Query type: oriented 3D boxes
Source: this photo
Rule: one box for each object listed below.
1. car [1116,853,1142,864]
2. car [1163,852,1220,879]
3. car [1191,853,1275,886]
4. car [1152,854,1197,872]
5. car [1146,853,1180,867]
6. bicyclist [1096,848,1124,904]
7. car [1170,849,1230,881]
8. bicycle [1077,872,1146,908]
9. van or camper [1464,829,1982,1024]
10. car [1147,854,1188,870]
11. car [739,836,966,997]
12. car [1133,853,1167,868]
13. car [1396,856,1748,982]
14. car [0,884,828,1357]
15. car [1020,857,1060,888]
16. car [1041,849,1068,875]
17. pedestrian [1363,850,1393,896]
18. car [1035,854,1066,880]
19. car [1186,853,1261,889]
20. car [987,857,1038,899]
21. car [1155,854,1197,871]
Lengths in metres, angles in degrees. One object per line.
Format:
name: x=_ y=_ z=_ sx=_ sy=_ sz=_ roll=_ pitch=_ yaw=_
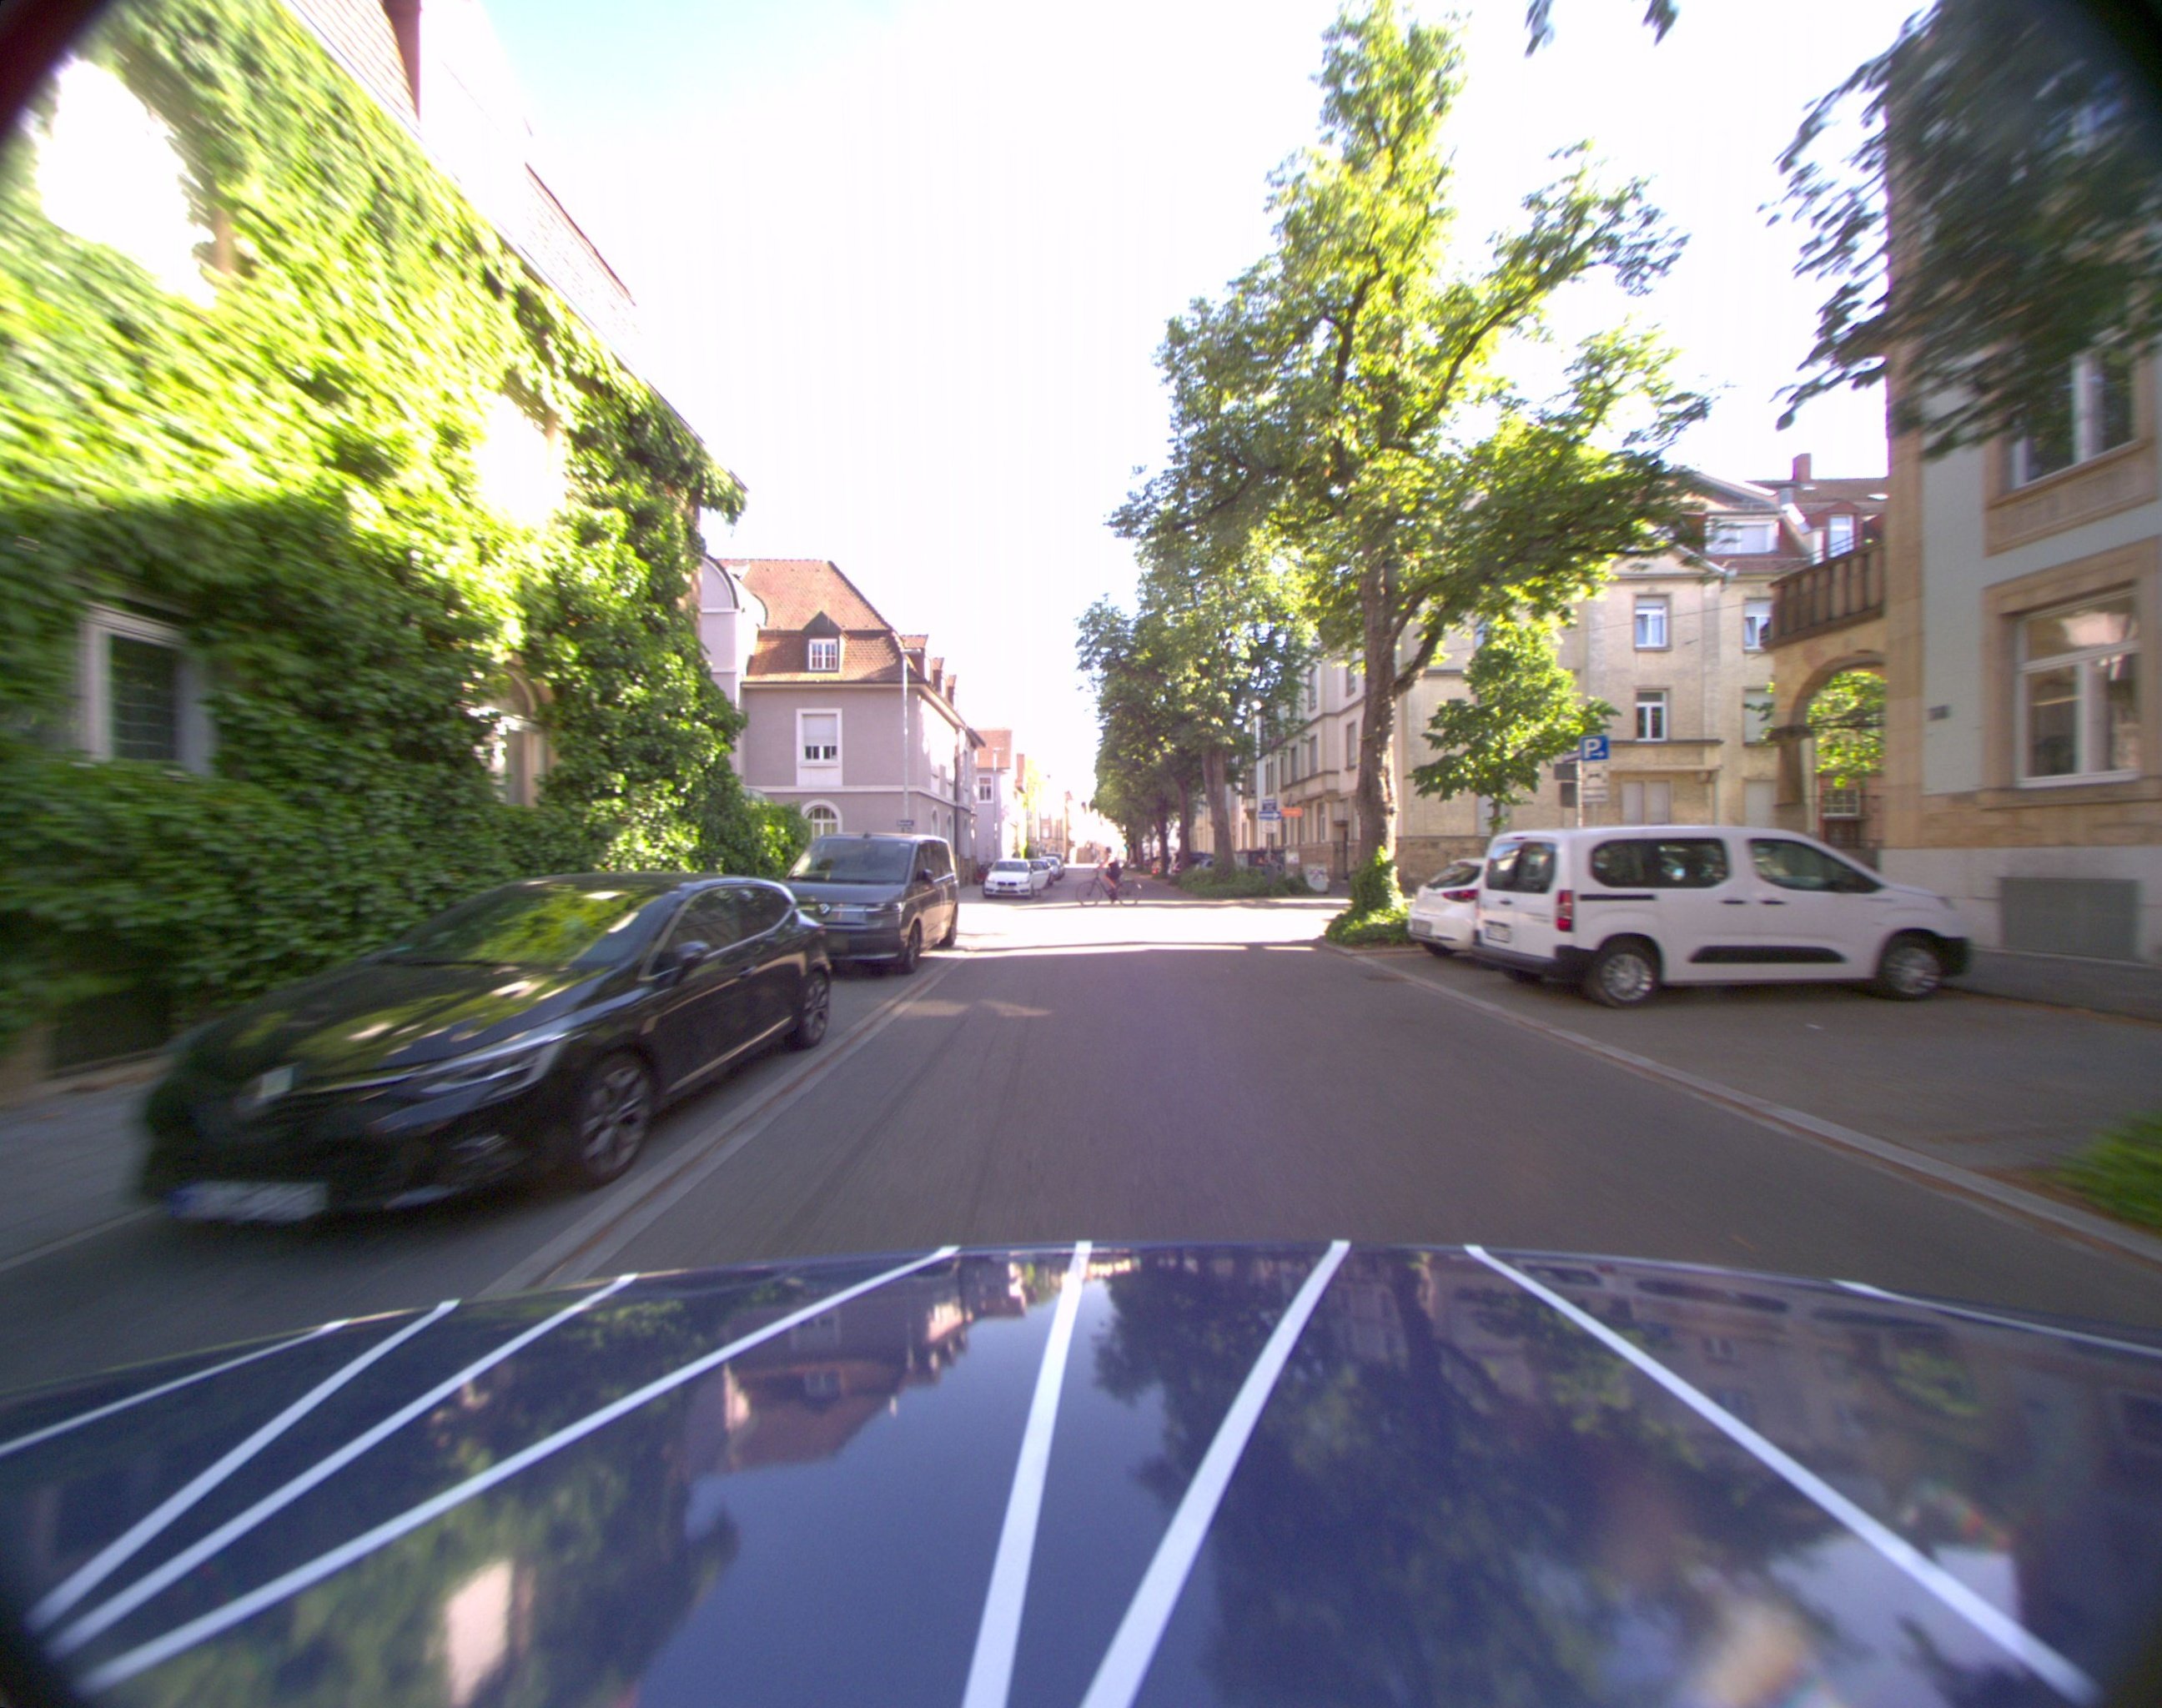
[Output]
car: x=6.496 y=0.556 z=102.978 sx=3.496 sy=1.421 sz=1.542 roll=-1 pitch=0 yaw=0
car: x=7.185 y=0.754 z=49.768 sx=3.496 sy=1.681 sz=1.682 roll=-1 pitch=0 yaw=0
car: x=7.542 y=0.774 z=37.990 sx=3.994 sy=1.424 sz=1.804 roll=-3 pitch=2 yaw=8
car: x=7.699 y=0.759 z=62.748 sx=3.496 sy=1.421 sz=1.542 roll=-1 pitch=0 yaw=0
car: x=8.834 y=0.638 z=81.803 sx=3.496 sy=1.421 sz=1.542 roll=-1 pitch=0 yaw=0
bicyclist: x=0.813 y=0.610 z=21.551 sx=0.737 sy=1.562 sz=0.755 roll=-1 pitch=1 yaw=0
car: x=7.444 y=0.678 z=47.771 sx=3.496 sy=1.882 sz=1.821 roll=-1 pitch=0 yaw=0
bicycle: x=0.860 y=1.014 z=21.560 sx=1.920 sy=0.981 sz=0.595 roll=-1 pitch=1 yaw=0
van or camper: x=6.531 y=0.700 z=8.090 sx=3.954 sy=1.763 sz=1.809 roll=-1 pitch=-1 yaw=0
car: x=7.819 y=0.712 z=68.915 sx=3.496 sy=1.421 sz=1.542 roll=-1 pitch=0 yaw=0
car: x=-3.064 y=0.731 z=11.386 sx=1.857 sy=1.898 sz=4.851 roll=0 pitch=0 yaw=1
car: x=7.219 y=0.674 z=79.612 sx=3.496 sy=1.421 sz=1.542 roll=-1 pitch=0 yaw=0
car: x=6.569 y=0.822 z=10.474 sx=3.734 sy=1.507 sz=1.722 roll=-1 pitch=0 yaw=0
car: x=-3.025 y=0.978 z=4.553 sx=1.641 sy=1.413 sz=4.008 roll=0 pitch=0 yaw=0
car: x=-2.225 y=1.007 z=42.419 sx=1.822 sy=1.530 sz=4.160 roll=-3 pitch=0 yaw=2
car: x=-2.189 y=0.627 z=63.715 sx=1.998 sy=1.904 sz=3.999 roll=-3 pitch=1 yaw=2
pedestrian: x=10.728 y=0.675 z=27.468 sx=0.667 sy=1.598 sz=0.979 roll=-1 pitch=1 yaw=0
car: x=-2.132 y=0.896 z=53.591 sx=1.822 sy=1.634 sz=4.160 roll=-3 pitch=0 yaw=2
car: x=8.119 y=0.952 z=43.067 sx=3.993 sy=1.752 sz=2.002 roll=-2 pitch=2 yaw=15
car: x=-2.692 y=0.909 z=30.789 sx=1.814 sy=1.546 sz=4.105 roll=-1 pitch=0 yaw=-2
car: x=8.370 y=0.747 z=66.855 sx=3.496 sy=1.421 sz=1.542 roll=-1 pitch=0 yaw=0
